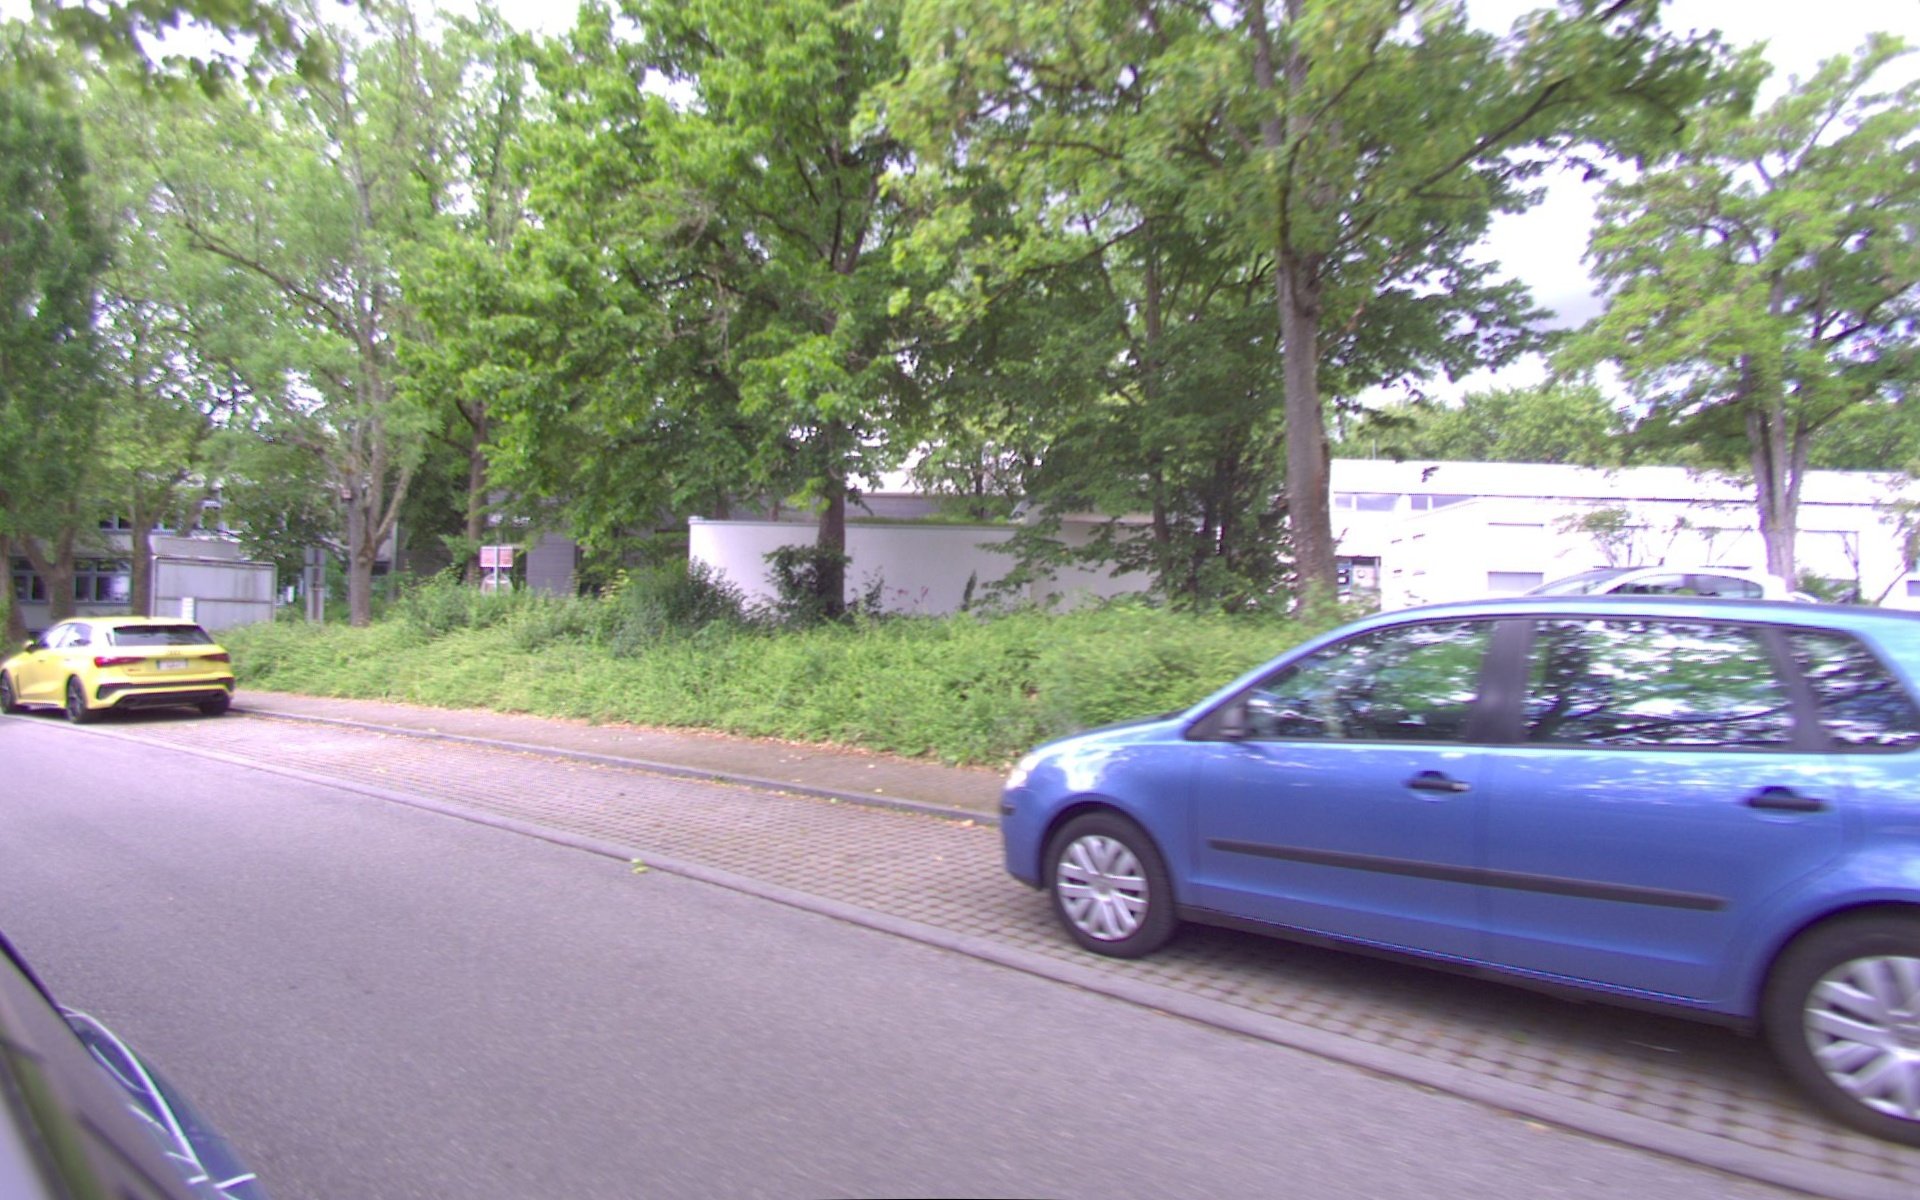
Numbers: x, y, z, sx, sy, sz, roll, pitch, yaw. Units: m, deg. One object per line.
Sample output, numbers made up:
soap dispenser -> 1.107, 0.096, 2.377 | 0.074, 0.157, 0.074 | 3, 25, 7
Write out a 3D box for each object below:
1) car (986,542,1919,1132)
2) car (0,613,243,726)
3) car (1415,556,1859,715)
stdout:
car -> 2.026, 0.627, 3.818 | 3.716, 1.470, 1.518 | -1, -2, 39
car -> -12.335, 0.901, 14.587 | 4.257, 1.413, 1.688 | 0, -1, 31
car -> 7.567, 0.421, 11.613 | 3.819, 1.634, 1.746 | -1, -3, 0
